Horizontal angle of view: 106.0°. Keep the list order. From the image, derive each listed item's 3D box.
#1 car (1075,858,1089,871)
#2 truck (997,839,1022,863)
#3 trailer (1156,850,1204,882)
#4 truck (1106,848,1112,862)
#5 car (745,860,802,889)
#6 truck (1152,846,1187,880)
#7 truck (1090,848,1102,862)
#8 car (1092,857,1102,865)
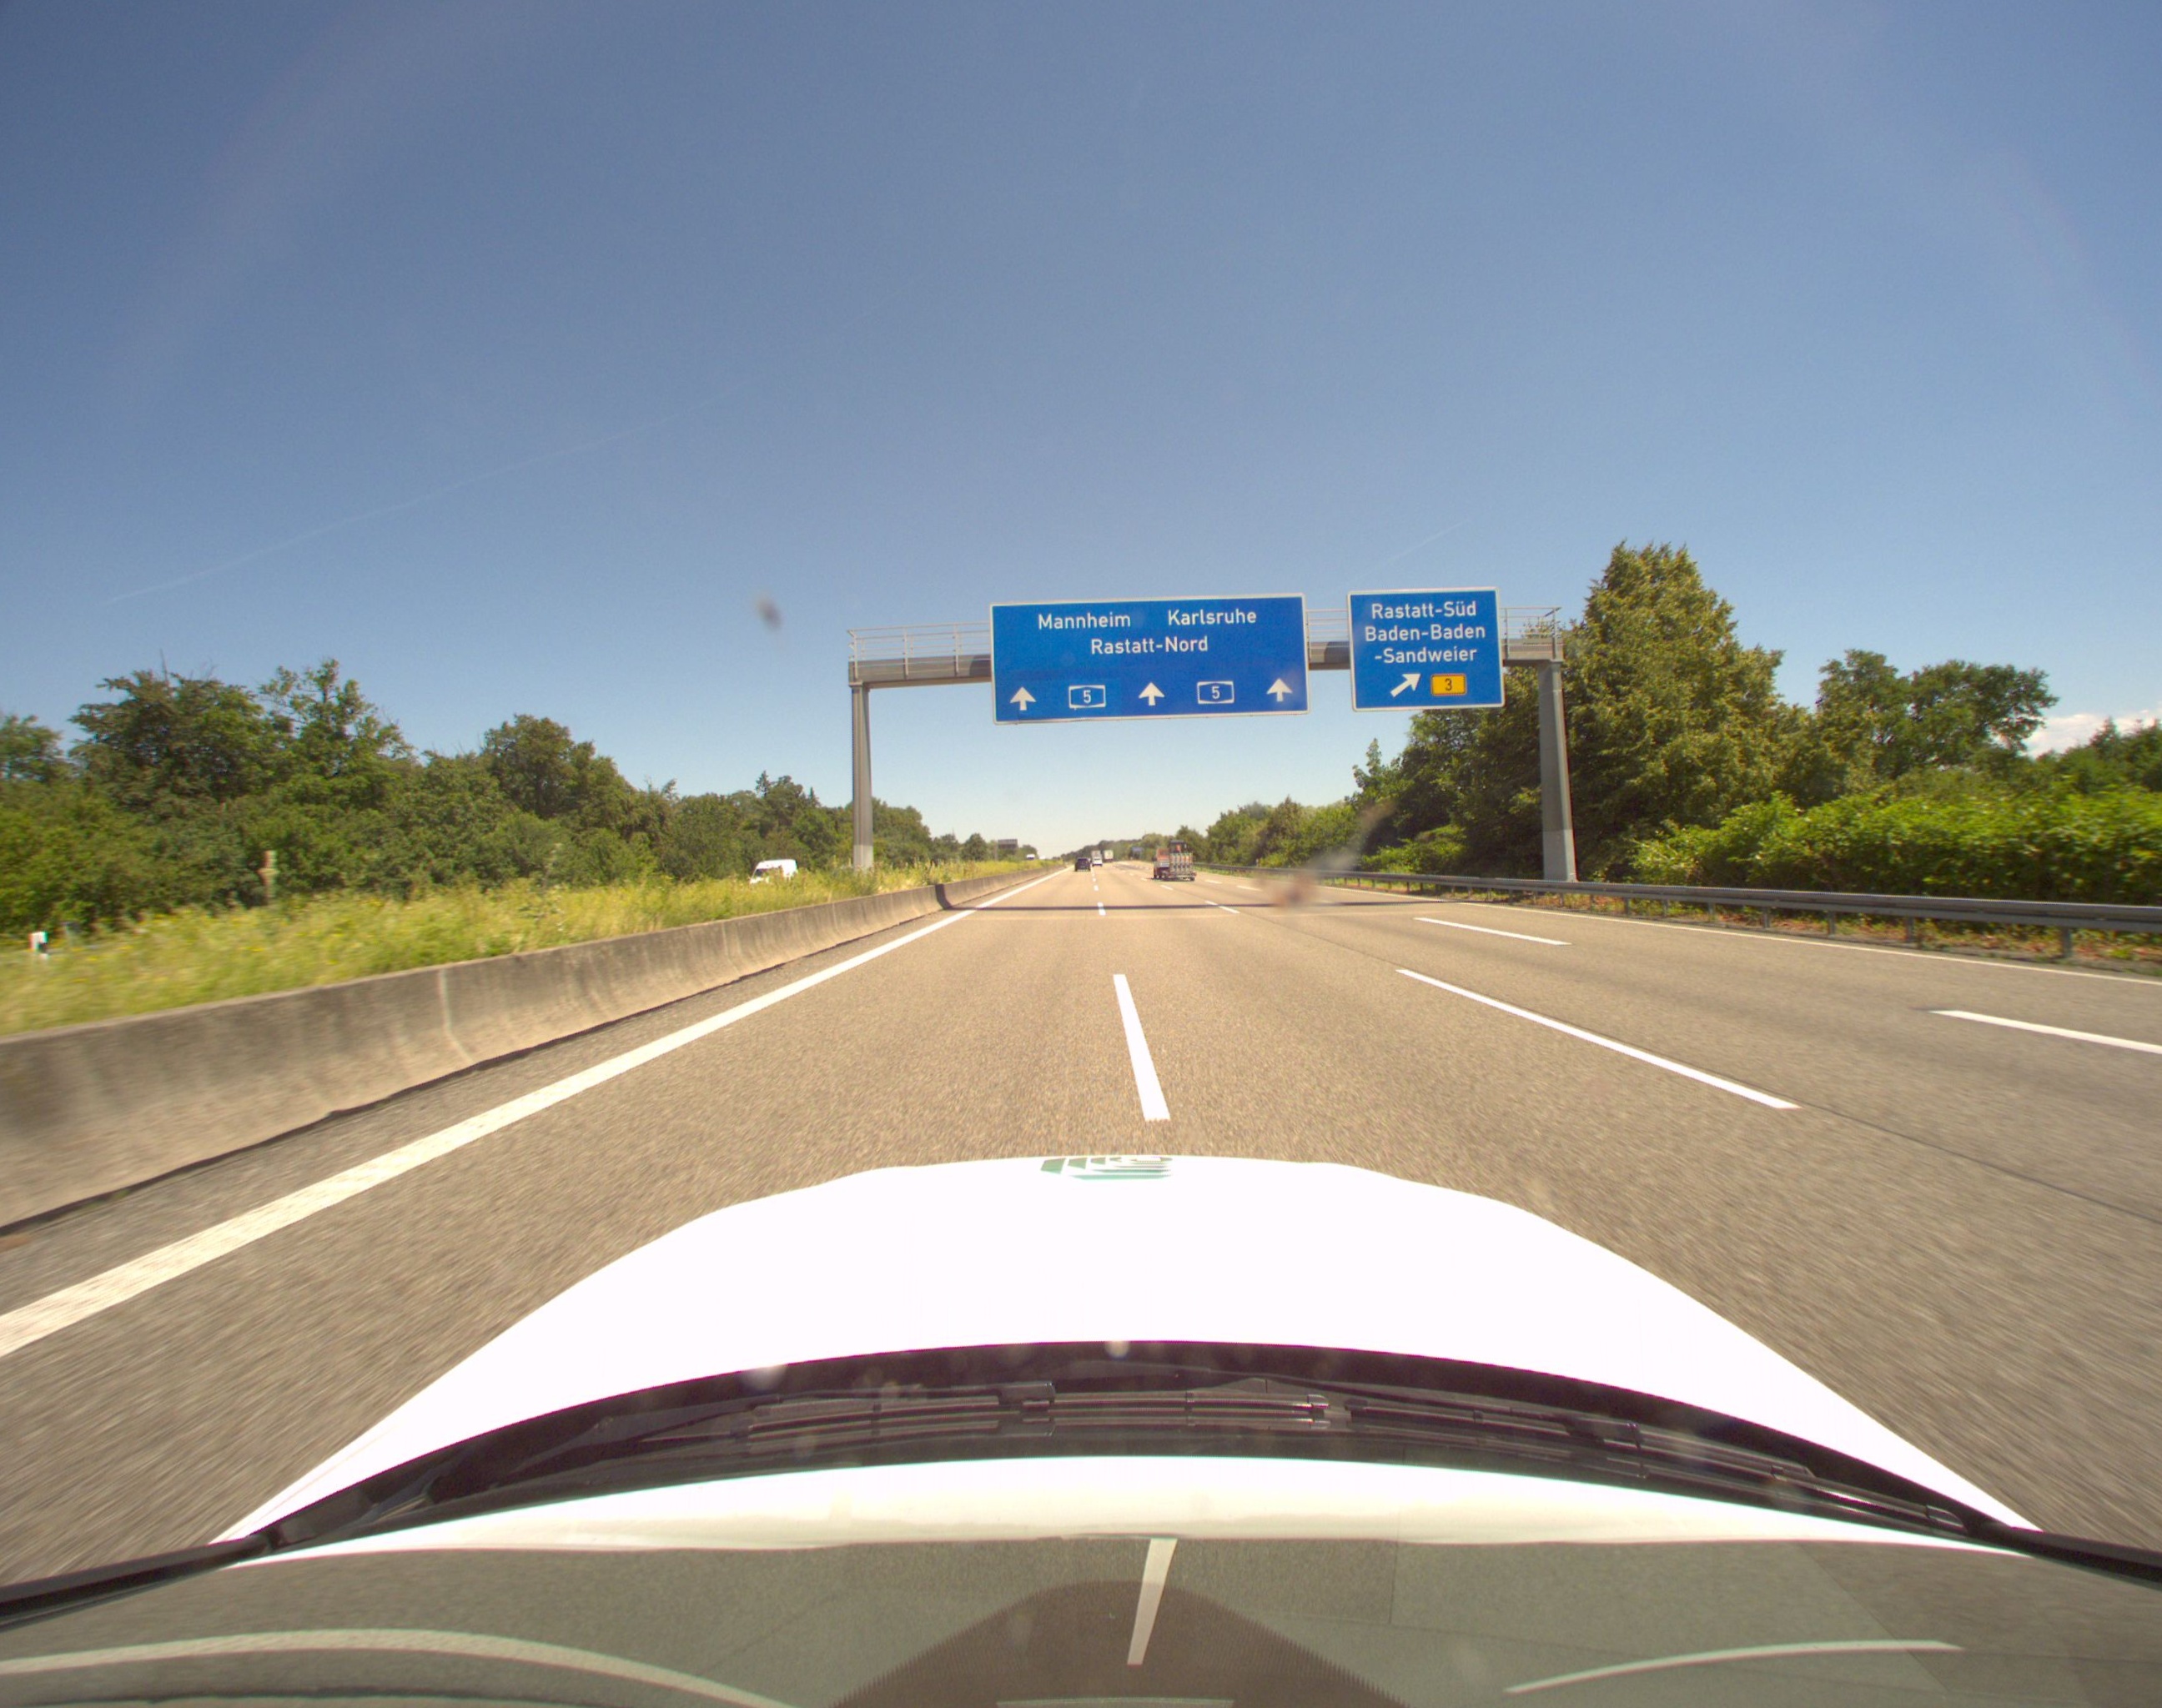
[{"bbox_3d":[0.167,1.308,102.709,1.655,1.549,3.781,-1,-1,-1],"label":"car"},{"bbox_3d":[-21.594,-0.861,248.312,5.401,6.925,17.011,-1,0,2],"label":"truck"},{"bbox_3d":[6.588,0.803,55.105,2.414,2.014,6.030,-1,0,-1],"label":"trailer"},{"bbox_3d":[8.766,0.450,256.460,1.689,4.367,5.596,-1,-1,2],"label":"truck"},{"bbox_3d":[-22.464,1.447,59.741,1.986,2.014,5.188,-1,0,2],"label":"car"},{"bbox_3d":[6.543,0.640,60.467,1.988,2.374,4.642,-1,0,-1],"label":"truck"},{"bbox_3d":[4.377,0.306,242.278,3.299,3.994,8.400,0,-1,-1],"label":"truck"},{"bbox_3d":[2.988,1.245,150.324,1.734,1.486,3.999,-1,-1,0],"label":"car"}]
